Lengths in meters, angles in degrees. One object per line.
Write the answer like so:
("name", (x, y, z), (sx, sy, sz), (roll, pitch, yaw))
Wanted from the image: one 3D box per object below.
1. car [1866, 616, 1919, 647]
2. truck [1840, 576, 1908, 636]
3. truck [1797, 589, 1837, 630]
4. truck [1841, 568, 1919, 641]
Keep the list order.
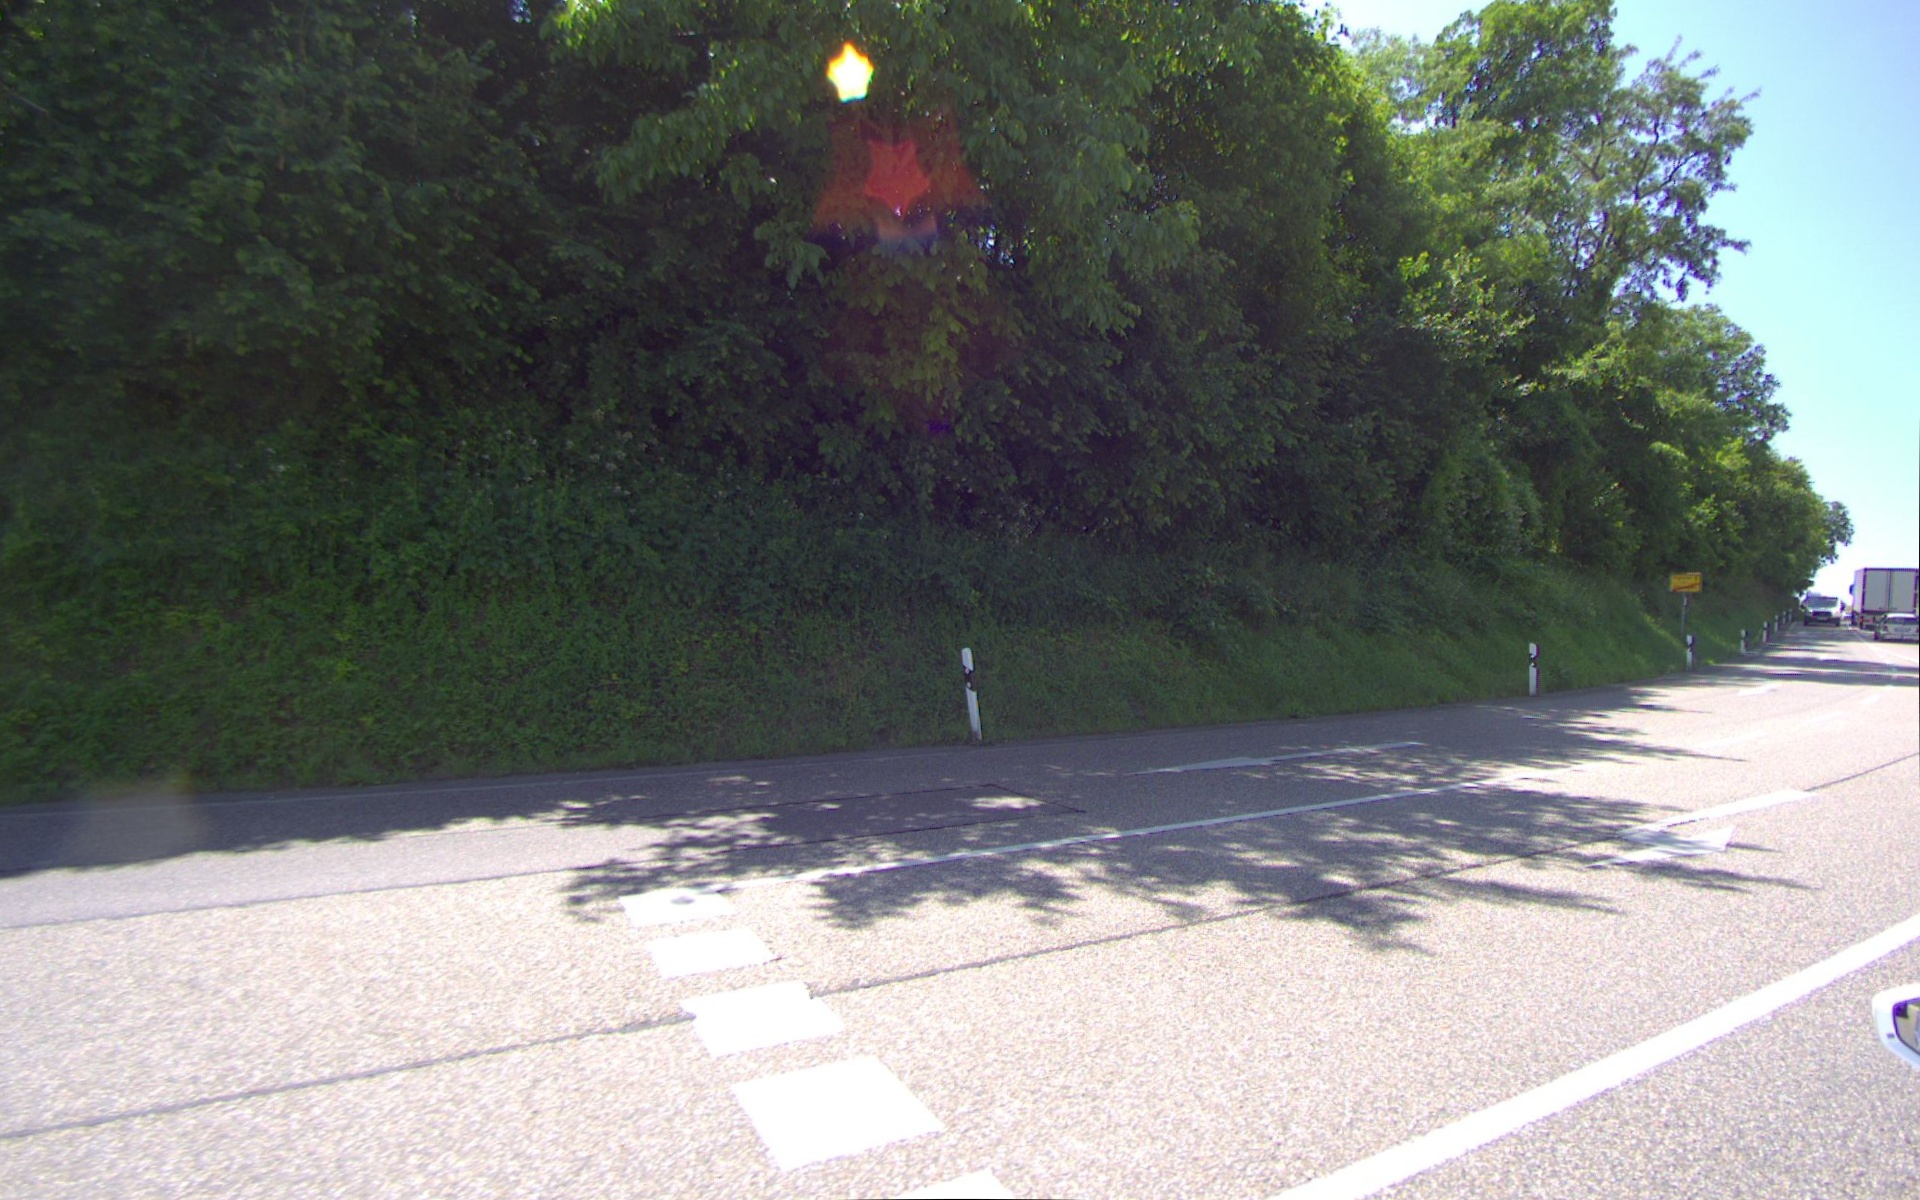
("car", (50.459, 1.689, 54.381), (1.627, 1.529, 3.625), (5, 2, 37))
("truck", (66.102, 0.471, 72.788), (3.153, 3.986, 8.210), (4, 2, 41))
("truck", (61.756, 0.644, 72.399), (2.029, 2.723, 5.950), (3, 2, 41))
("truck", (62.402, 0.278, 68.317), (3.152, 4.368, 11.743), (6, 4, 40))
